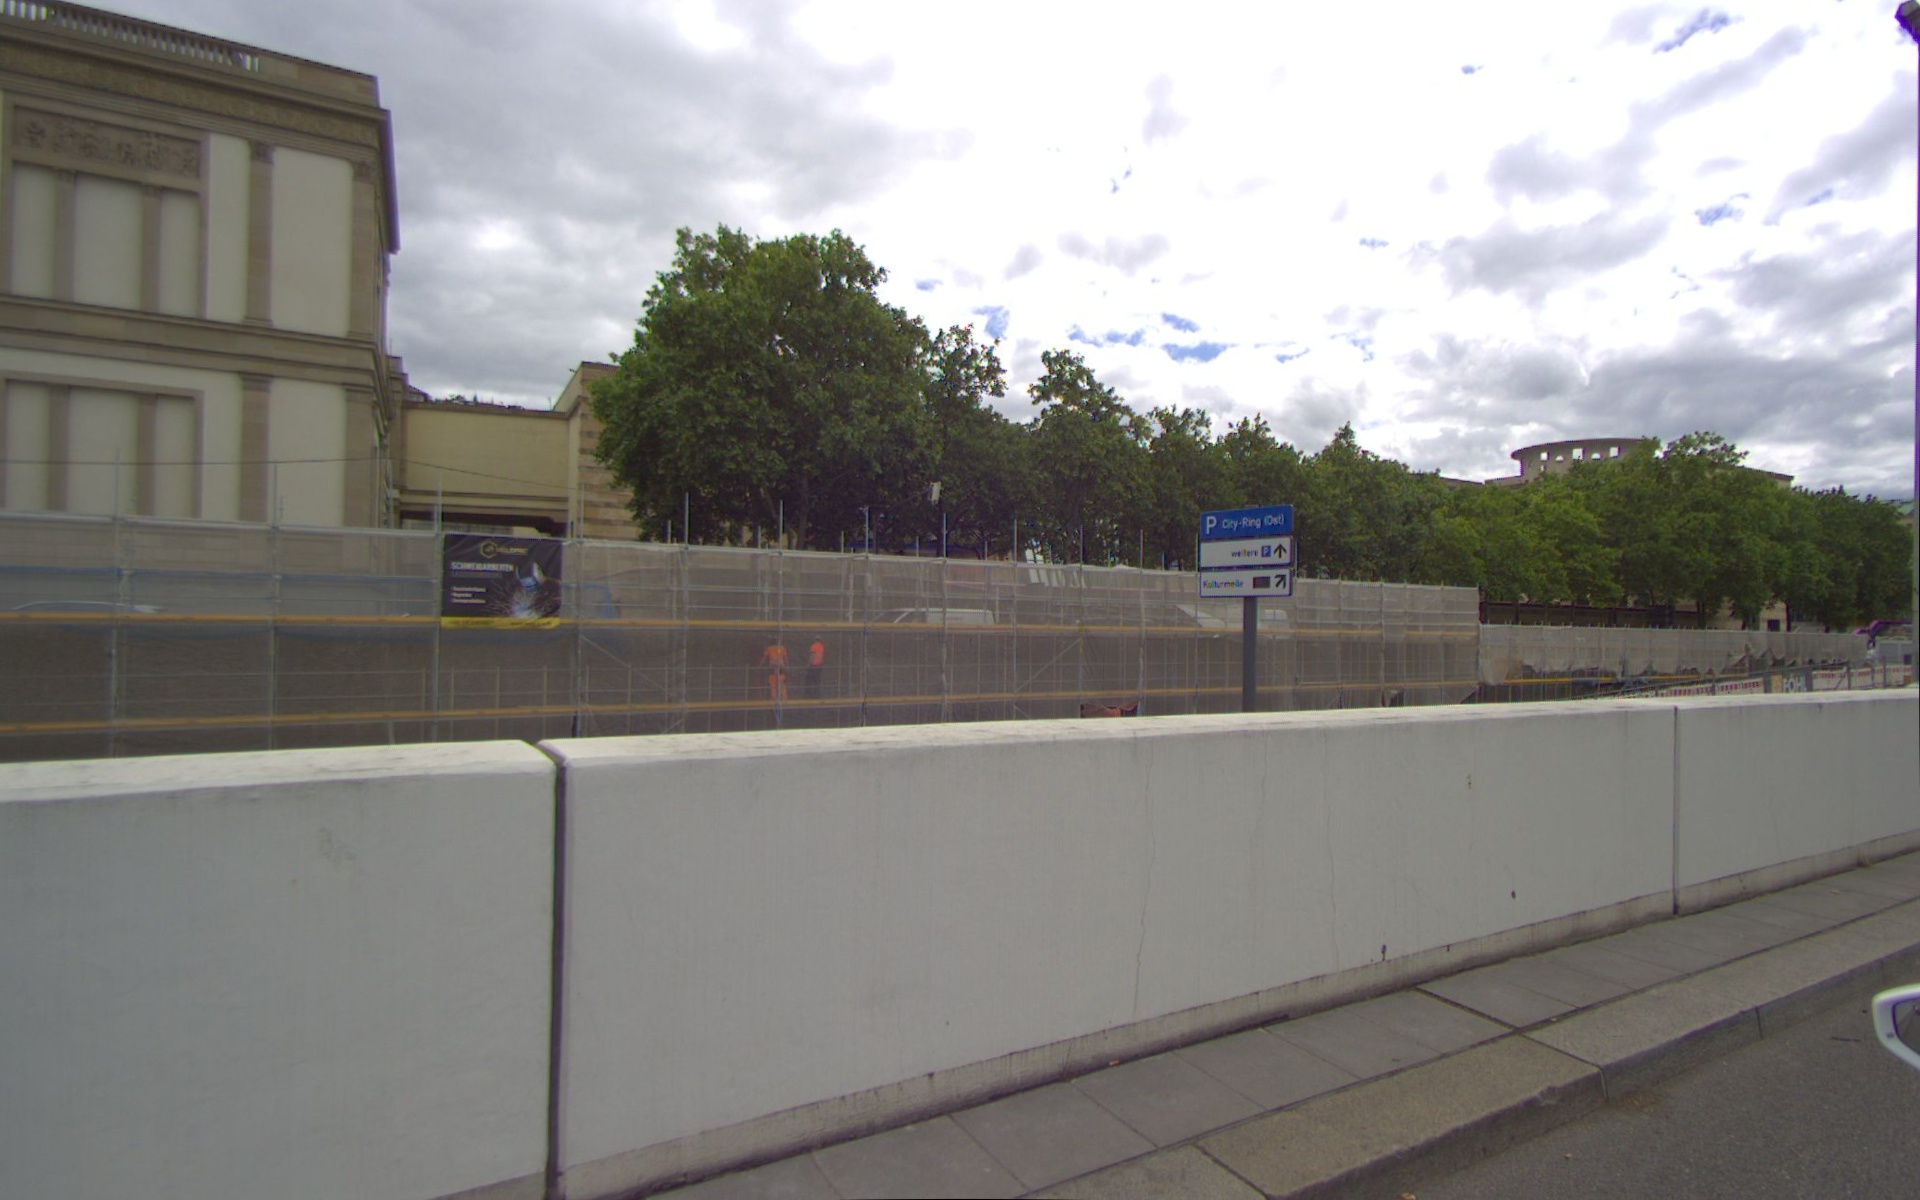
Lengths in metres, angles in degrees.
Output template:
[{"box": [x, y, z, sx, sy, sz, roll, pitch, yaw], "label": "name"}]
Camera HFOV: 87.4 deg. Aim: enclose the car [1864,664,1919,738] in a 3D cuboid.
[{"box": [30.158, 3.112, 31.265, 3.954, 2.040, 1.983, 0, -1, -31], "label": "car"}]
